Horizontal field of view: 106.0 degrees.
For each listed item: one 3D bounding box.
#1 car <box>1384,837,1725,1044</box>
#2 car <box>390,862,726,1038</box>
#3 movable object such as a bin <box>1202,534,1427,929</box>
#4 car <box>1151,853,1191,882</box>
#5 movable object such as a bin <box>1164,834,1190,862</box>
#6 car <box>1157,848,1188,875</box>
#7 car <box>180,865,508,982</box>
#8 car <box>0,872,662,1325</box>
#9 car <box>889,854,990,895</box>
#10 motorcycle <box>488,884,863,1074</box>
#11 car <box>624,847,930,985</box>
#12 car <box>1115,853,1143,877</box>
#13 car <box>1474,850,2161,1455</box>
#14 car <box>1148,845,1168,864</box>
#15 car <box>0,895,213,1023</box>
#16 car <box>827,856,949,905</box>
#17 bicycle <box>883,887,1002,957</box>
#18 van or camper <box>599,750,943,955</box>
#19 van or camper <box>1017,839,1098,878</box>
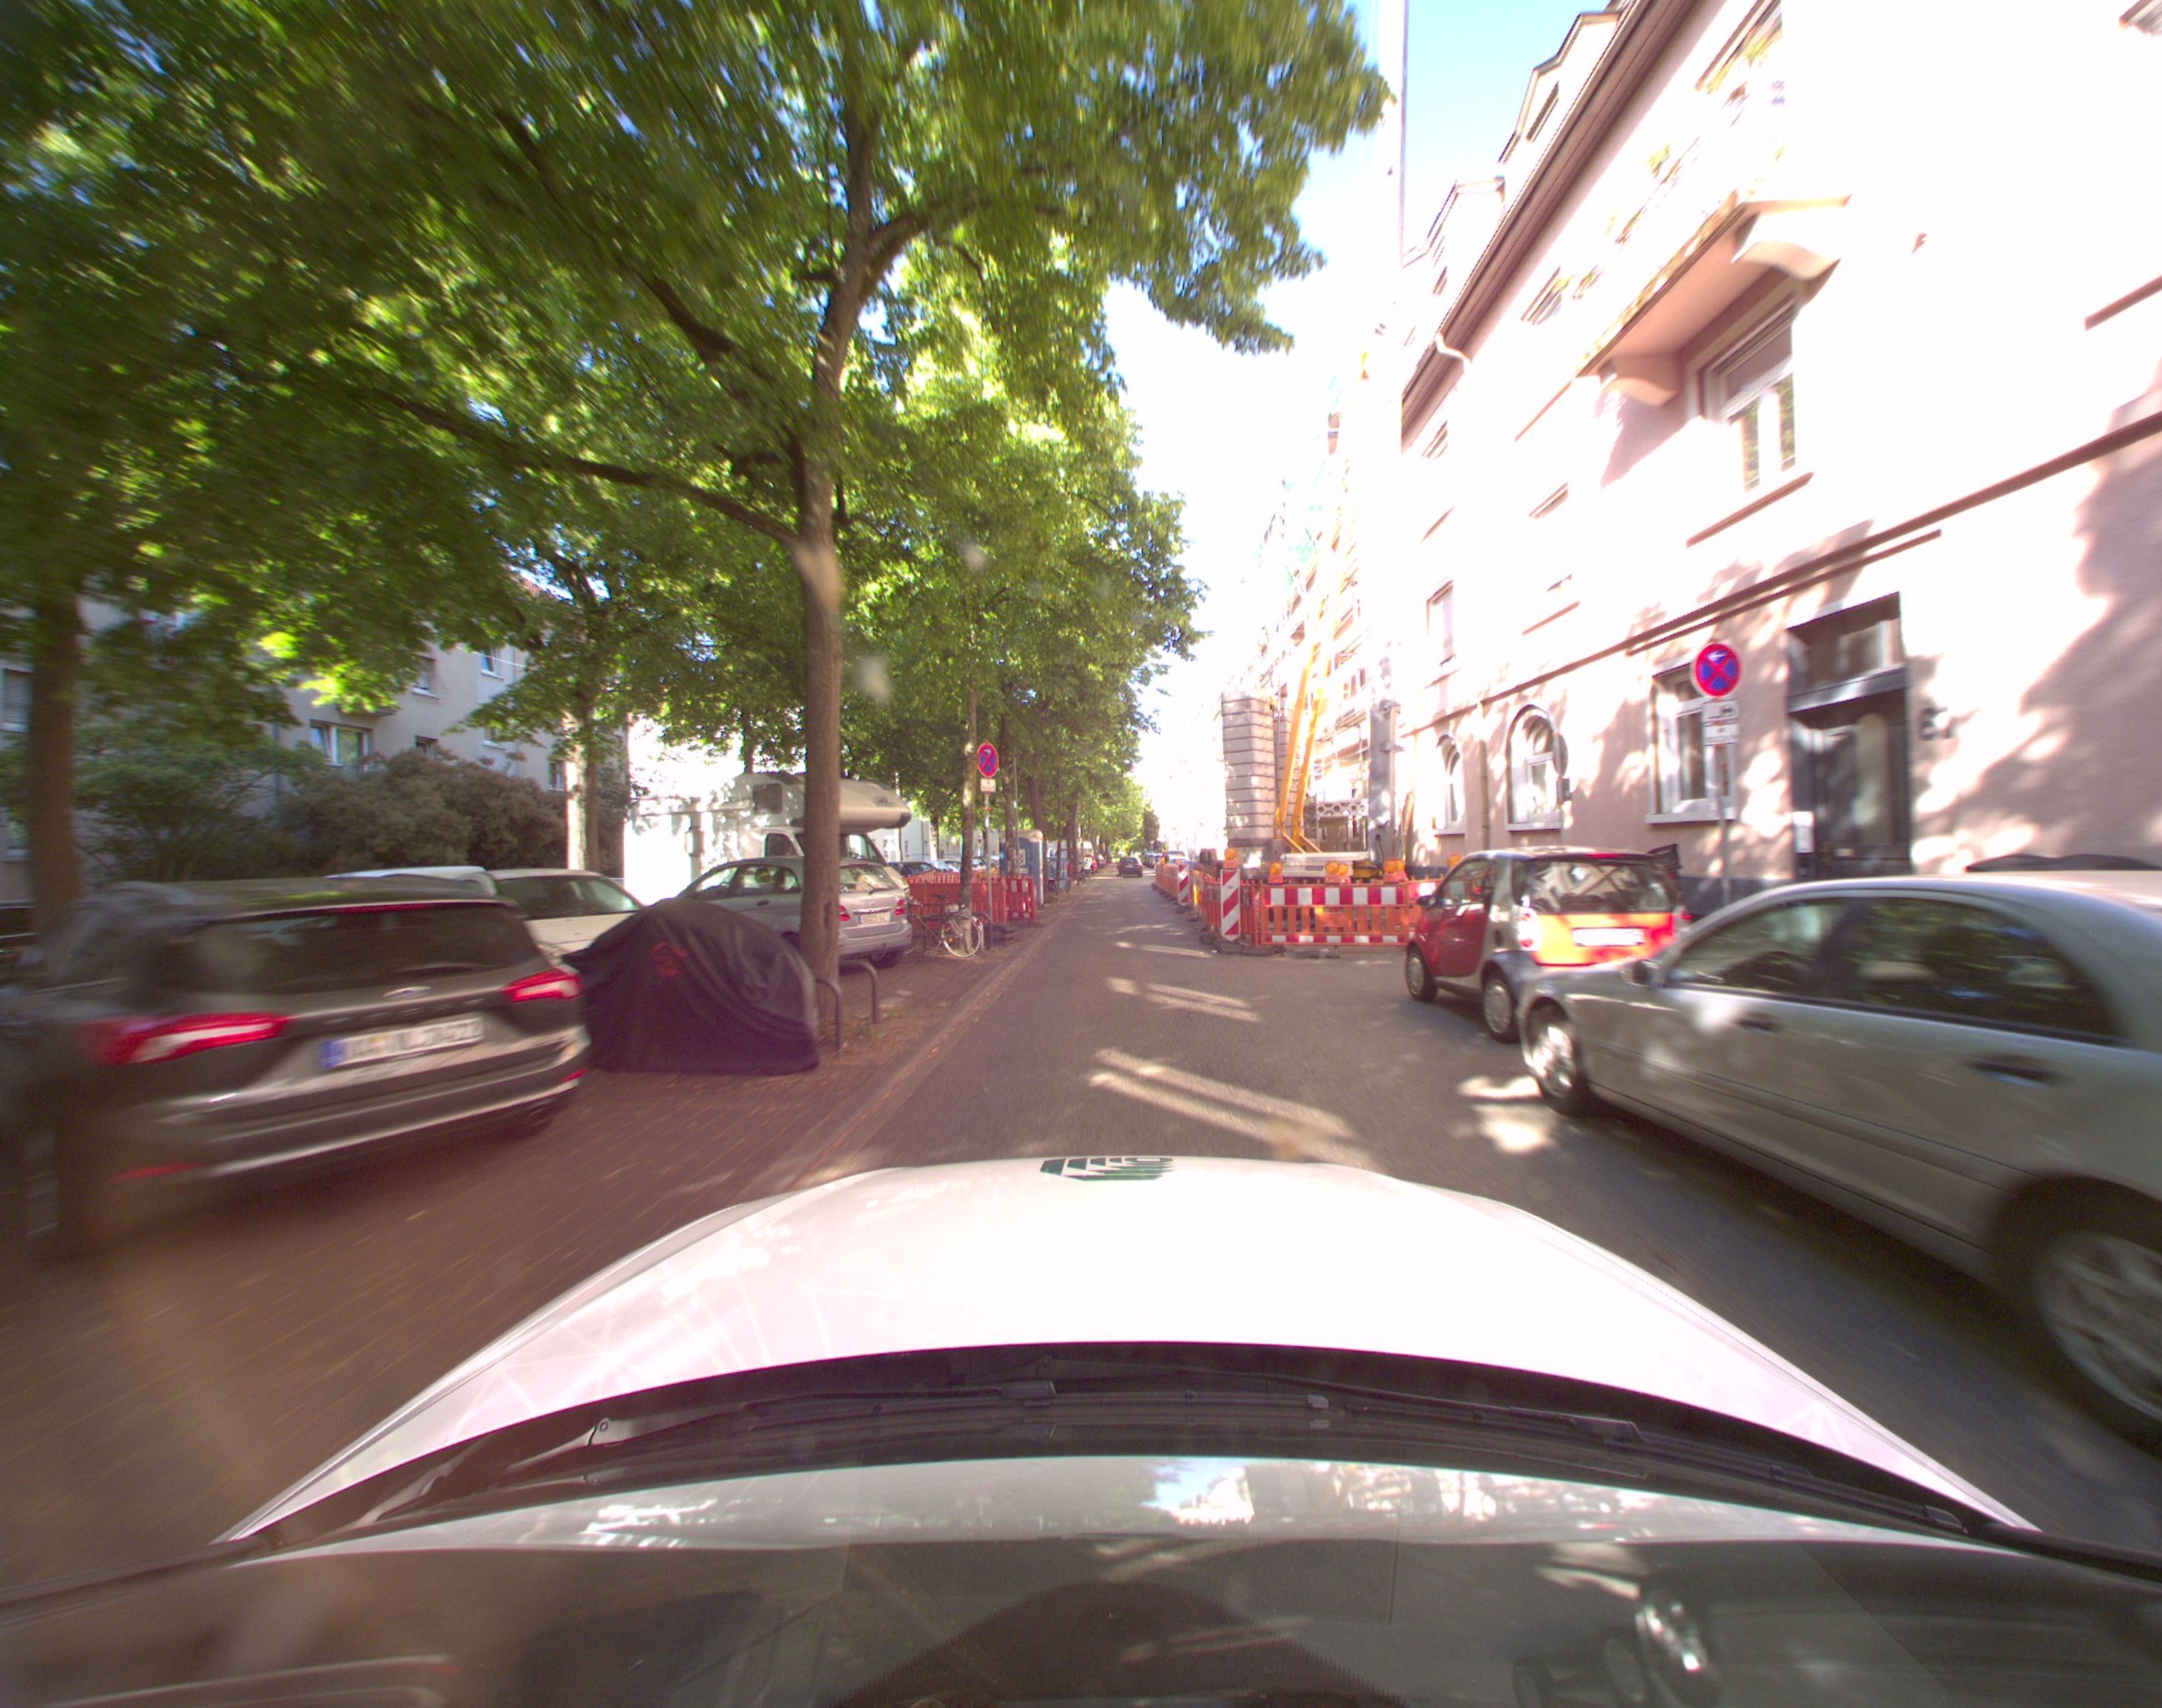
[{"bbox_3d":[4.101,0.651,7.554,1.586,1.530,2.782,-1,0,2],"label":"car"},{"bbox_3d":[-5.849,0.892,8.970,3.914,1.474,1.835,-2,0,37],"label":"car"},{"bbox_3d":[4.540,-2.072,15.863,3.445,6.759,2.383,-2,0,35],"label":"movable object such as a bin"},{"bbox_3d":[4.753,0.669,43.284,1.790,1.385,3.587,-2,0,2],"label":"car"},{"bbox_3d":[8.284,-0.534,70.545,1.790,2.233,4.608,-2,0,2],"label":"movable object such as a bin"},{"bbox_3d":[6.443,0.517,57.657,1.790,1.800,3.587,-2,0,2],"label":"car"},{"bbox_3d":[-14.159,1.216,16.178,1.809,1.803,4.851,-3,0,4],"label":"car"},{"bbox_3d":[-4.363,0.873,4.434,3.915,1.414,1.834,-2,0,30],"label":"car"},{"bbox_3d":[-6.237,0.908,35.857,3.948,1.607,2.013,-2,0,30],"label":"car"},{"bbox_3d":[-3.024,0.907,6.146,2.534,1.258,0.765,-2,0,10],"label":"motorcycle"},{"bbox_3d":[-4.288,0.788,11.430,3.915,1.629,1.834,-2,0,28],"label":"car"},{"bbox_3d":[3.306,0.747,56.572,1.790,1.503,3.587,-2,0,2],"label":"car"},{"bbox_3d":[3.617,0.709,3.300,1.986,1.409,4.503,-1,0,2],"label":"car"},{"bbox_3d":[7.930,0.049,84.156,1.790,1.800,3.587,-2,0,2],"label":"car"},{"bbox_3d":[-14.182,1.381,10.368,1.809,1.455,3.971,-2,0,4],"label":"car"},{"bbox_3d":[-7.023,0.963,29.636,3.948,1.607,2.013,-2,0,30],"label":"car"},{"bbox_3d":[-2.161,1.040,12.589,1.879,1.006,0.433,-2,0,26],"label":"bicycle"},{"bbox_3d":[-6.073,0.060,15.617,6.592,3.240,2.511,-2,0,31],"label":"van or camper"},{"bbox_3d":[-1.681,0.334,57.036,5.280,2.474,2.309,-2,0,35],"label":"van or camper"}]
